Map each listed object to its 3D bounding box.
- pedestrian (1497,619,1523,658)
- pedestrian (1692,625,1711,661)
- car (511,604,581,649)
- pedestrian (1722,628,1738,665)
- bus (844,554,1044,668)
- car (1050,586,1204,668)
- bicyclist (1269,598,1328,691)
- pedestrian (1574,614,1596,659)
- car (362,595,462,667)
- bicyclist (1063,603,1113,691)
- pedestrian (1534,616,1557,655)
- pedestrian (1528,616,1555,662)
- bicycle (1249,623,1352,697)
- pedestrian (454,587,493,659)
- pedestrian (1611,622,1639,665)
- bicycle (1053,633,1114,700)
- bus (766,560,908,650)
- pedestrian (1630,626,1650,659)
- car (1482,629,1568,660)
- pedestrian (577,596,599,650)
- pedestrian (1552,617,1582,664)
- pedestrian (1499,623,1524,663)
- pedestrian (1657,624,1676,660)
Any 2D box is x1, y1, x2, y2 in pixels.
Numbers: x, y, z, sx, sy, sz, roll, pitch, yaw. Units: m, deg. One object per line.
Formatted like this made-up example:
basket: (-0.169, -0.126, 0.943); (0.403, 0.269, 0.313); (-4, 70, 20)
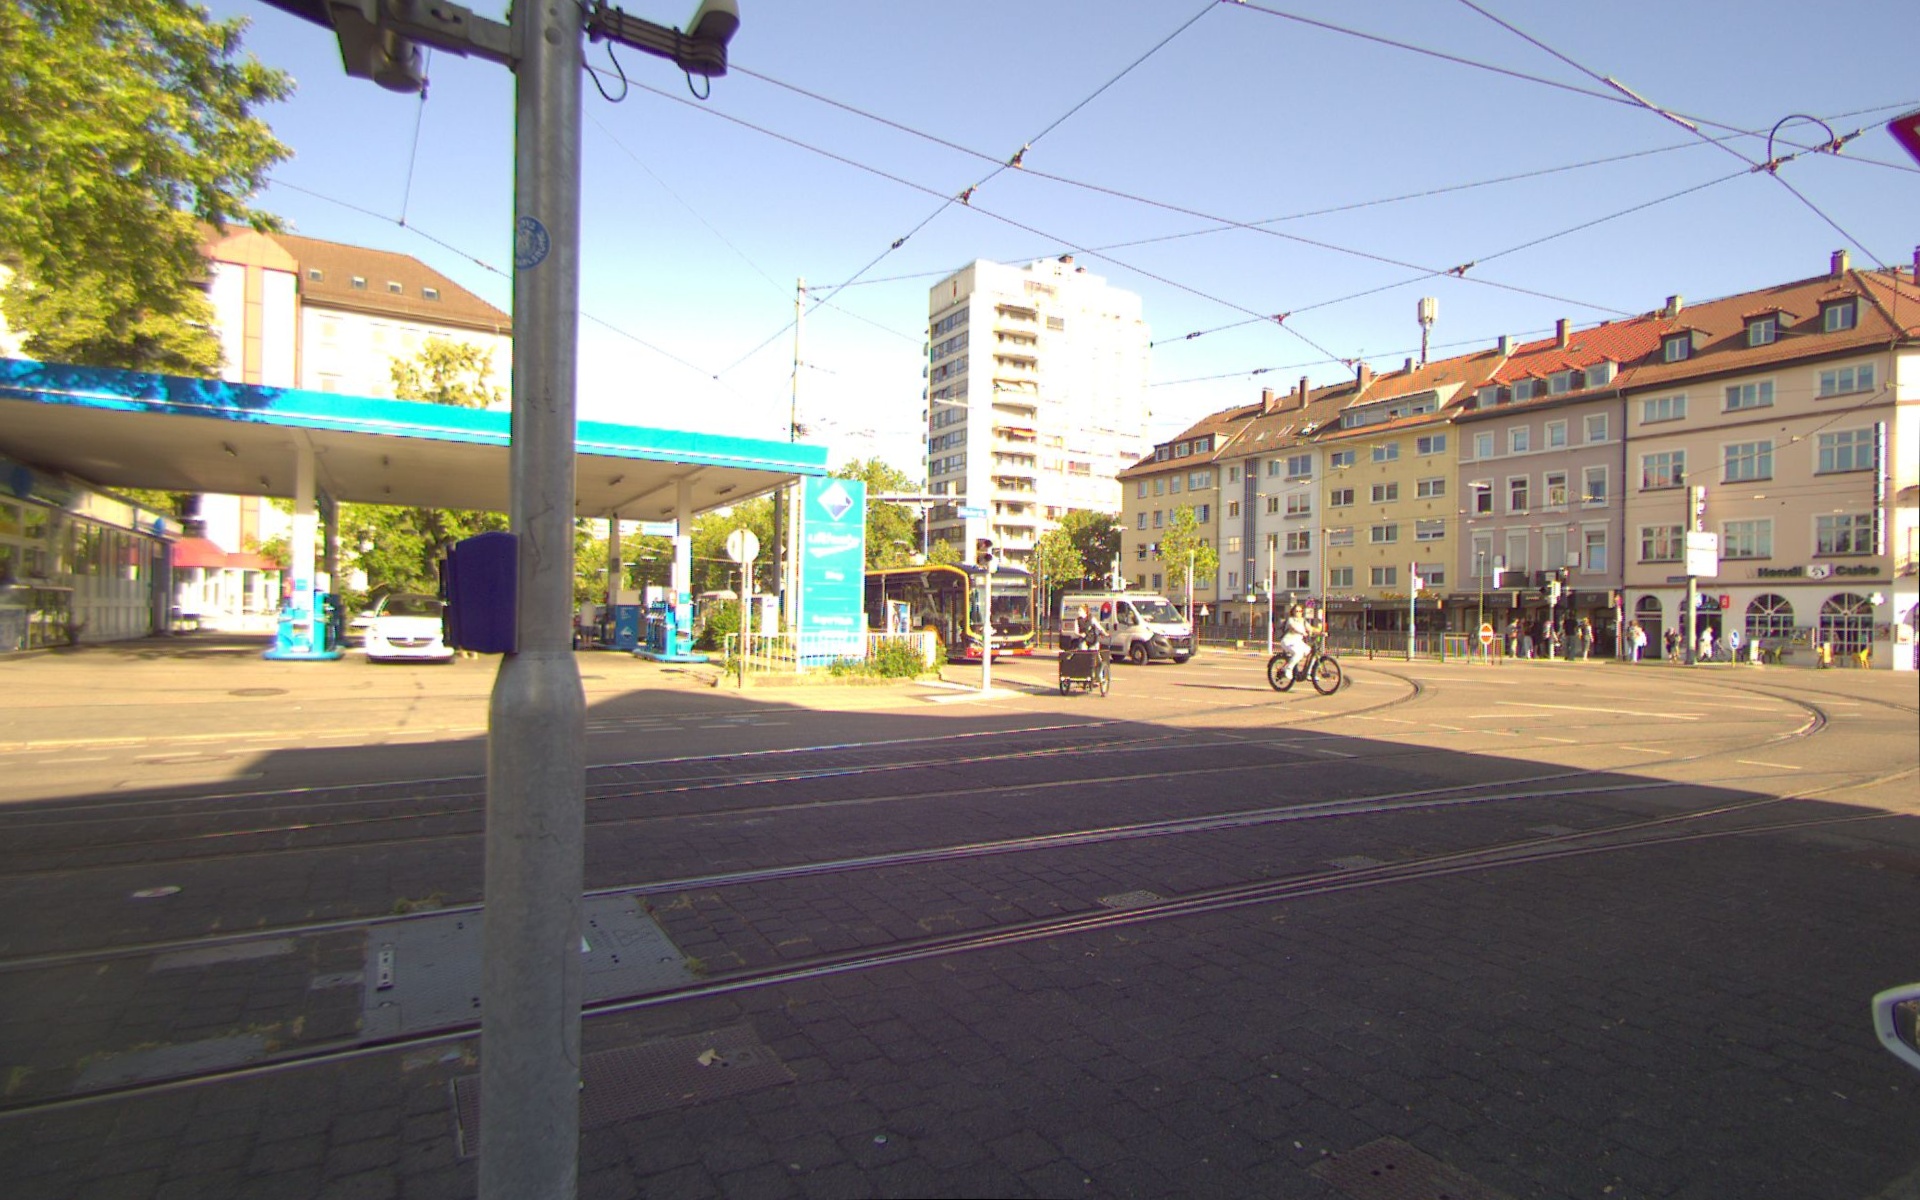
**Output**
pedestrian: (24.172, 1.676, 44.150); (0.621, 1.704, 0.763); (1, -1, -30)
pedestrian: (36.388, 2.101, 49.292); (0.731, 1.704, 0.626); (0, -1, 35)
car: (-13.587, 0.845, 32.877); (1.697, 1.360, 3.970); (1, -1, -28)
pedestrian: (26.934, 1.628, 35.131); (0.447, 1.270, 0.361); (1, -1, -41)
bus: (-0.890, 0.286, 35.482); (2.748, 3.504, 9.363); (0, 1, -31)
car: (5.354, 0.831, 32.955); (2.059, 2.465, 5.079); (0, 0, -34)
bicyclist: (6.454, 0.839, 19.149); (0.725, 1.737, 0.794); (1, -2, -31)
pedestrian: (25.506, 1.499, 40.994); (0.554, 1.810, 0.556); (1, -1, -35)
car: (-12.367, 0.661, 22.556); (1.793, 1.461, 3.966); (1, -1, -31)
bicyclist: (2.501, 0.895, 19.583); (0.915, 1.659, 1.029); (1, 0, 9)
pedestrian: (24.678, 1.480, 42.343); (0.554, 1.602, 0.694); (1, -1, -35)
pedestrian: (23.703, 1.581, 40.956); (0.769, 1.874, 0.625); (1, -1, -30)
bicycle: (6.446, 1.114, 19.111); (0.616, 1.316, 1.930); (1, -1, -31)
pedestrian: (-11.787, 0.556, 24.340); (0.753, 1.715, 0.581); (1, -1, -34)
pedestrian: (26.434, 1.729, 39.947); (0.621, 1.704, 0.737); (1, -1, -30)
bicycle: (2.379, 1.224, 19.015); (1.038, 1.116, 2.521); (1, -1, 9)
bus: (-5.502, 0.146, 43.164); (2.756, 3.504, 8.568); (0, 1, -31)
pedestrian: (35.880, 2.223, 52.989); (0.623, 1.704, 0.734); (1, -1, -41)
car: (30.734, 2.395, 54.776); (1.795, 1.511, 3.715); (2, 0, -27)
pedestrian: (-11.916, 0.743, 32.141); (0.579, 1.715, 0.756); (1, -1, -25)
pedestrian: (24.412, 1.621, 40.397); (0.714, 1.853, 0.763); (1, -1, -30)
pedestrian: (23.214, 1.785, 42.281); (0.565, 1.657, 0.737); (1, -1, -30)
pedestrian: (33.893, 2.022, 48.177); (0.731, 1.704, 0.626); (0, -1, 35)
